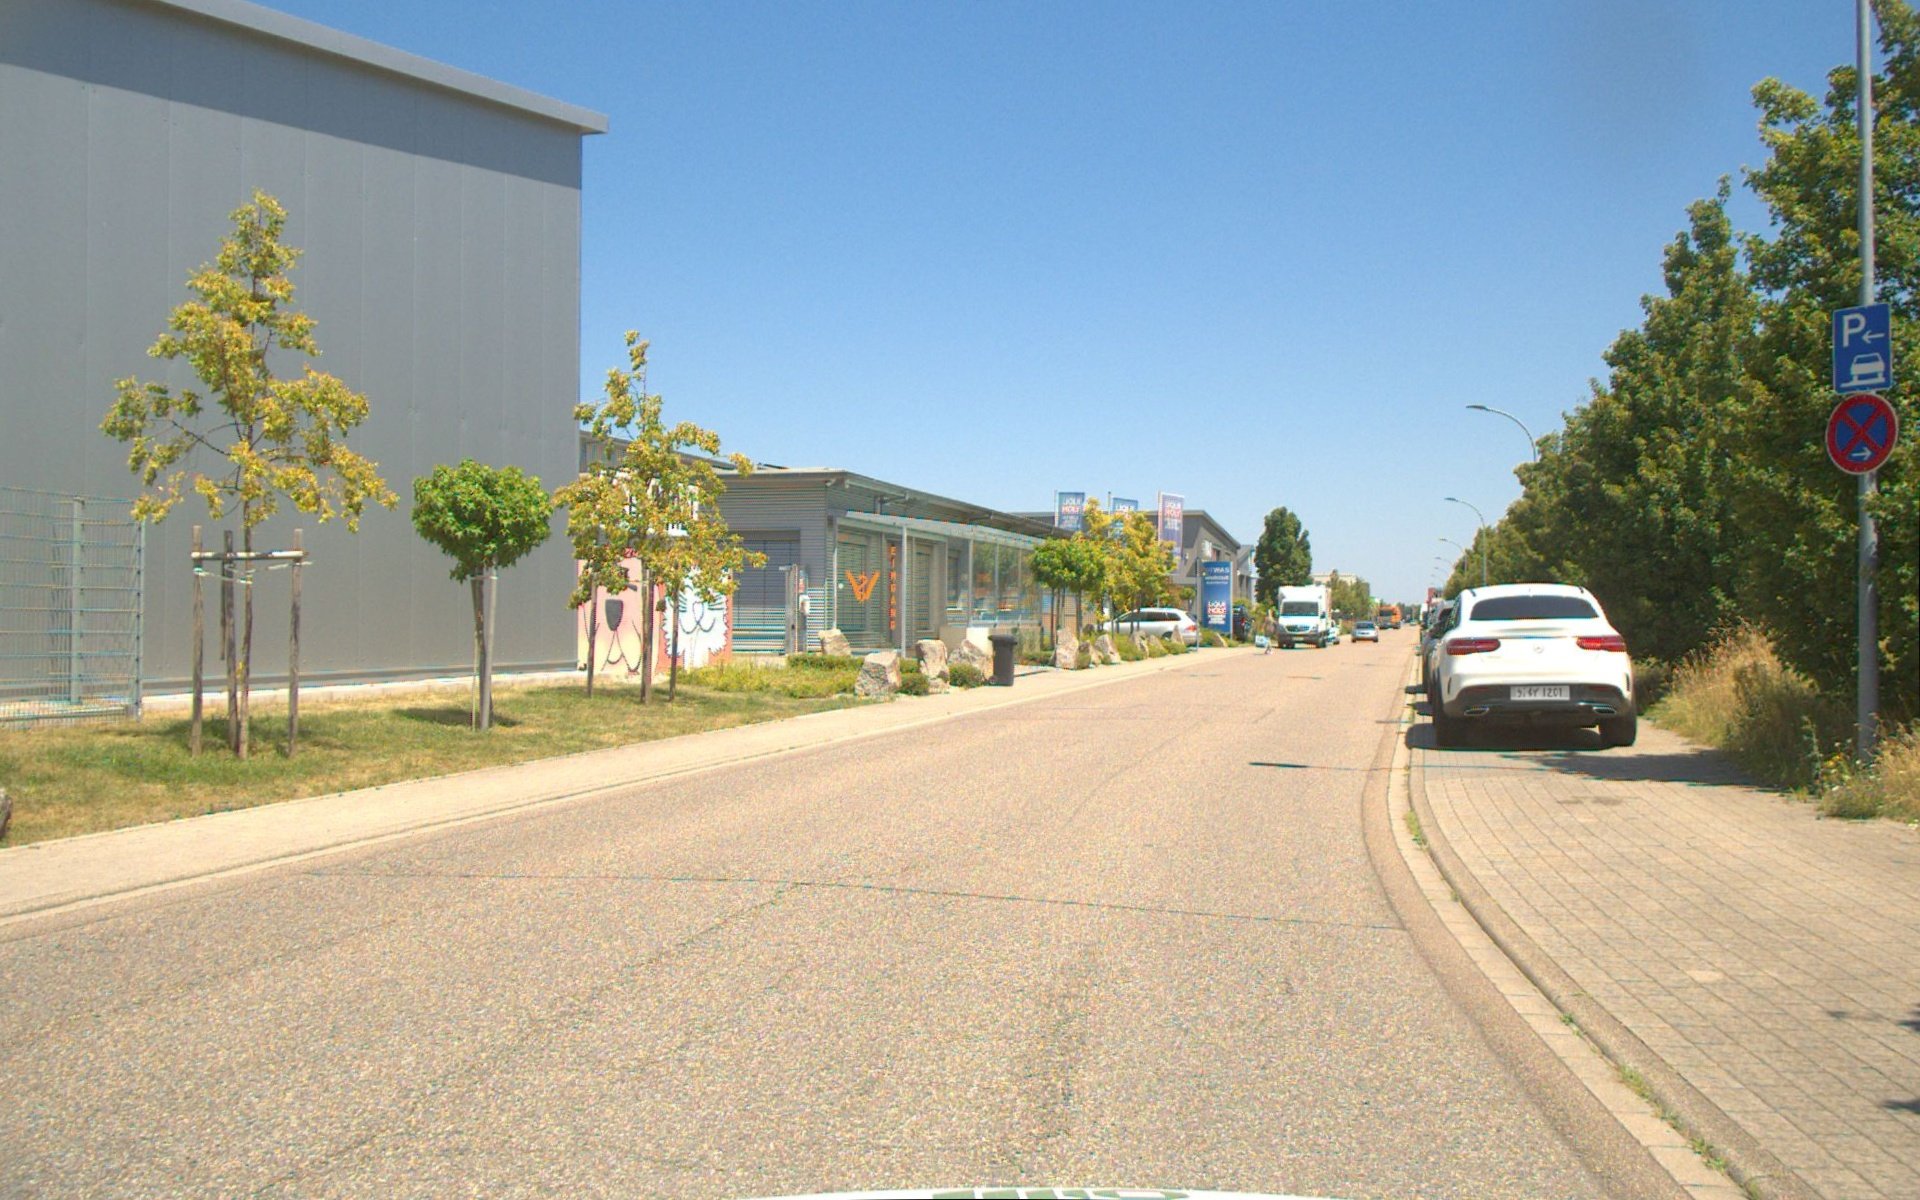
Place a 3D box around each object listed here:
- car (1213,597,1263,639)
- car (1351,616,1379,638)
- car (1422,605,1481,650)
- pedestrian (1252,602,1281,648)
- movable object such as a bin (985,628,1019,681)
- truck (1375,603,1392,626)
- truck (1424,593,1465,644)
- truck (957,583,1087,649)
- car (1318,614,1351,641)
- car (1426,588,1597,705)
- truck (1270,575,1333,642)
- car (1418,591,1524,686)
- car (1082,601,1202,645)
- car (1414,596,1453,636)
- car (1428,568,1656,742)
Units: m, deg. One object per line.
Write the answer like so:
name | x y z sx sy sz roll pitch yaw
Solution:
car | 14.121 0.939 83.864 1.951 1.991 5.221 1 -1 15
car | 28.279 1.900 115.489 1.745 1.447 4.416 -2 -2 16
car | 17.507 0.966 59.062 1.677 1.509 4.777 -1 -1 13
pedestrian | 10.940 0.883 59.027 0.880 1.601 0.786 2 0 17
movable object such as a bin | 0.794 1.027 31.159 0.558 0.966 0.512 1 -1 10
truck | 65.598 2.249 256.221 2.396 3.575 8.278 -1 -1 15
truck | 22.073 0.886 75.510 1.643 2.220 4.393 -2 -2 15
truck | 3.572 0.878 96.790 2.567 3.619 7.931 2 -1 -45
car | 22.205 1.647 97.972 1.693 1.484 4.494 1 -1 15
car | 8.065 0.662 24.569 1.863 1.556 4.633 -1 -1 12
truck | 15.967 0.454 77.074 2.311 2.910 6.418 -2 -2 16
car | 9.708 0.711 31.668 1.766 1.664 4.461 -1 -1 15
car | 6.761 0.859 61.397 4.171 1.545 1.867 1 -1 15
car | 30.406 1.062 106.119 2.220 2.541 6.154 0 -1 17
car | 6.511 0.596 19.023 2.098 1.728 4.788 -1 -1 15
